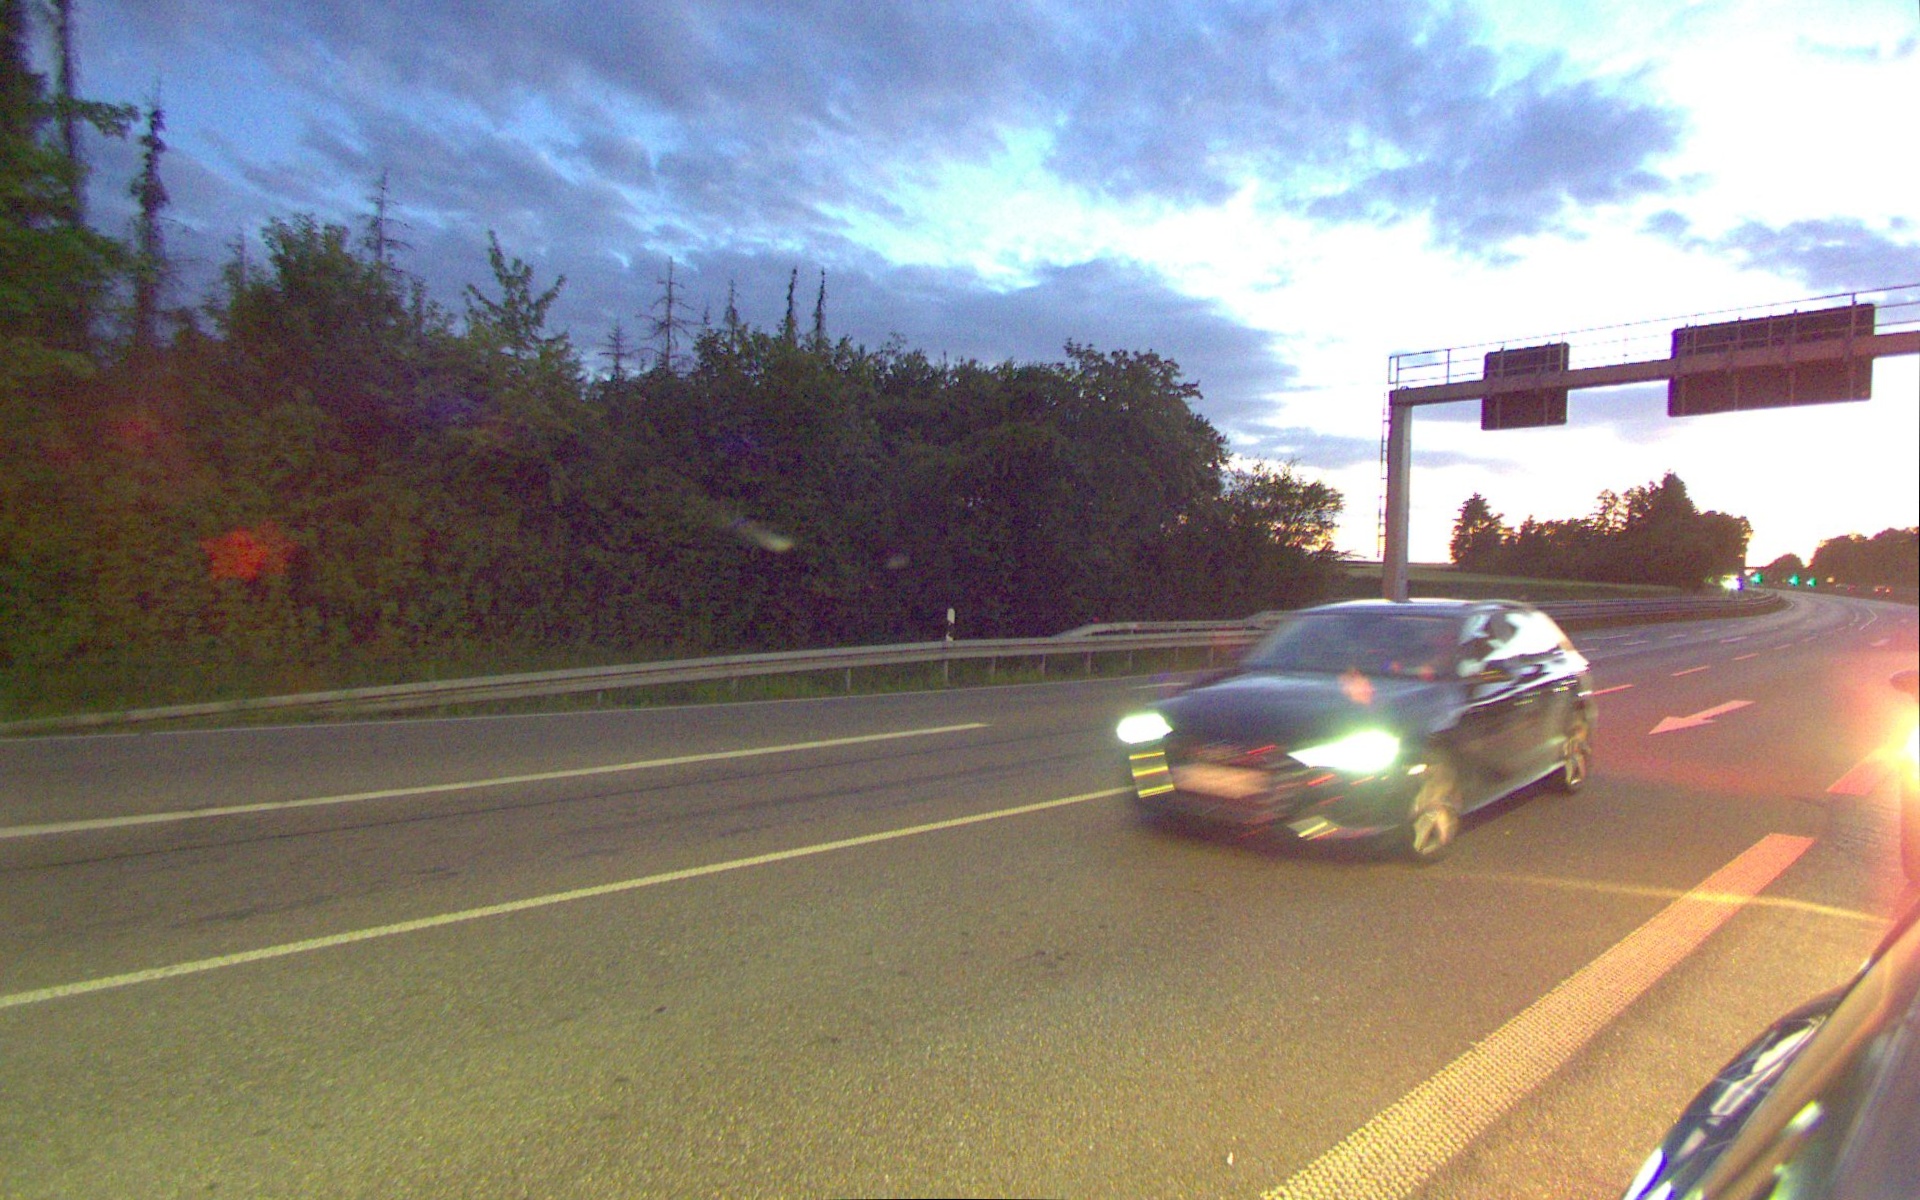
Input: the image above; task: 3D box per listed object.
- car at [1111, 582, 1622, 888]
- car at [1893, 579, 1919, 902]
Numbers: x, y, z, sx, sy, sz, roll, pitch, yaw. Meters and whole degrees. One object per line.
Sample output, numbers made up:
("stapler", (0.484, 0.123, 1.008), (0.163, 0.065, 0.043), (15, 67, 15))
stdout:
("car", (3.091, 0.634, 7.087), (1.790, 1.462, 4.462), (0, 0, 44))
("car", (6.356, 0.652, 5.255), (3.707, 1.499, 1.670), (0, 1, -38))
